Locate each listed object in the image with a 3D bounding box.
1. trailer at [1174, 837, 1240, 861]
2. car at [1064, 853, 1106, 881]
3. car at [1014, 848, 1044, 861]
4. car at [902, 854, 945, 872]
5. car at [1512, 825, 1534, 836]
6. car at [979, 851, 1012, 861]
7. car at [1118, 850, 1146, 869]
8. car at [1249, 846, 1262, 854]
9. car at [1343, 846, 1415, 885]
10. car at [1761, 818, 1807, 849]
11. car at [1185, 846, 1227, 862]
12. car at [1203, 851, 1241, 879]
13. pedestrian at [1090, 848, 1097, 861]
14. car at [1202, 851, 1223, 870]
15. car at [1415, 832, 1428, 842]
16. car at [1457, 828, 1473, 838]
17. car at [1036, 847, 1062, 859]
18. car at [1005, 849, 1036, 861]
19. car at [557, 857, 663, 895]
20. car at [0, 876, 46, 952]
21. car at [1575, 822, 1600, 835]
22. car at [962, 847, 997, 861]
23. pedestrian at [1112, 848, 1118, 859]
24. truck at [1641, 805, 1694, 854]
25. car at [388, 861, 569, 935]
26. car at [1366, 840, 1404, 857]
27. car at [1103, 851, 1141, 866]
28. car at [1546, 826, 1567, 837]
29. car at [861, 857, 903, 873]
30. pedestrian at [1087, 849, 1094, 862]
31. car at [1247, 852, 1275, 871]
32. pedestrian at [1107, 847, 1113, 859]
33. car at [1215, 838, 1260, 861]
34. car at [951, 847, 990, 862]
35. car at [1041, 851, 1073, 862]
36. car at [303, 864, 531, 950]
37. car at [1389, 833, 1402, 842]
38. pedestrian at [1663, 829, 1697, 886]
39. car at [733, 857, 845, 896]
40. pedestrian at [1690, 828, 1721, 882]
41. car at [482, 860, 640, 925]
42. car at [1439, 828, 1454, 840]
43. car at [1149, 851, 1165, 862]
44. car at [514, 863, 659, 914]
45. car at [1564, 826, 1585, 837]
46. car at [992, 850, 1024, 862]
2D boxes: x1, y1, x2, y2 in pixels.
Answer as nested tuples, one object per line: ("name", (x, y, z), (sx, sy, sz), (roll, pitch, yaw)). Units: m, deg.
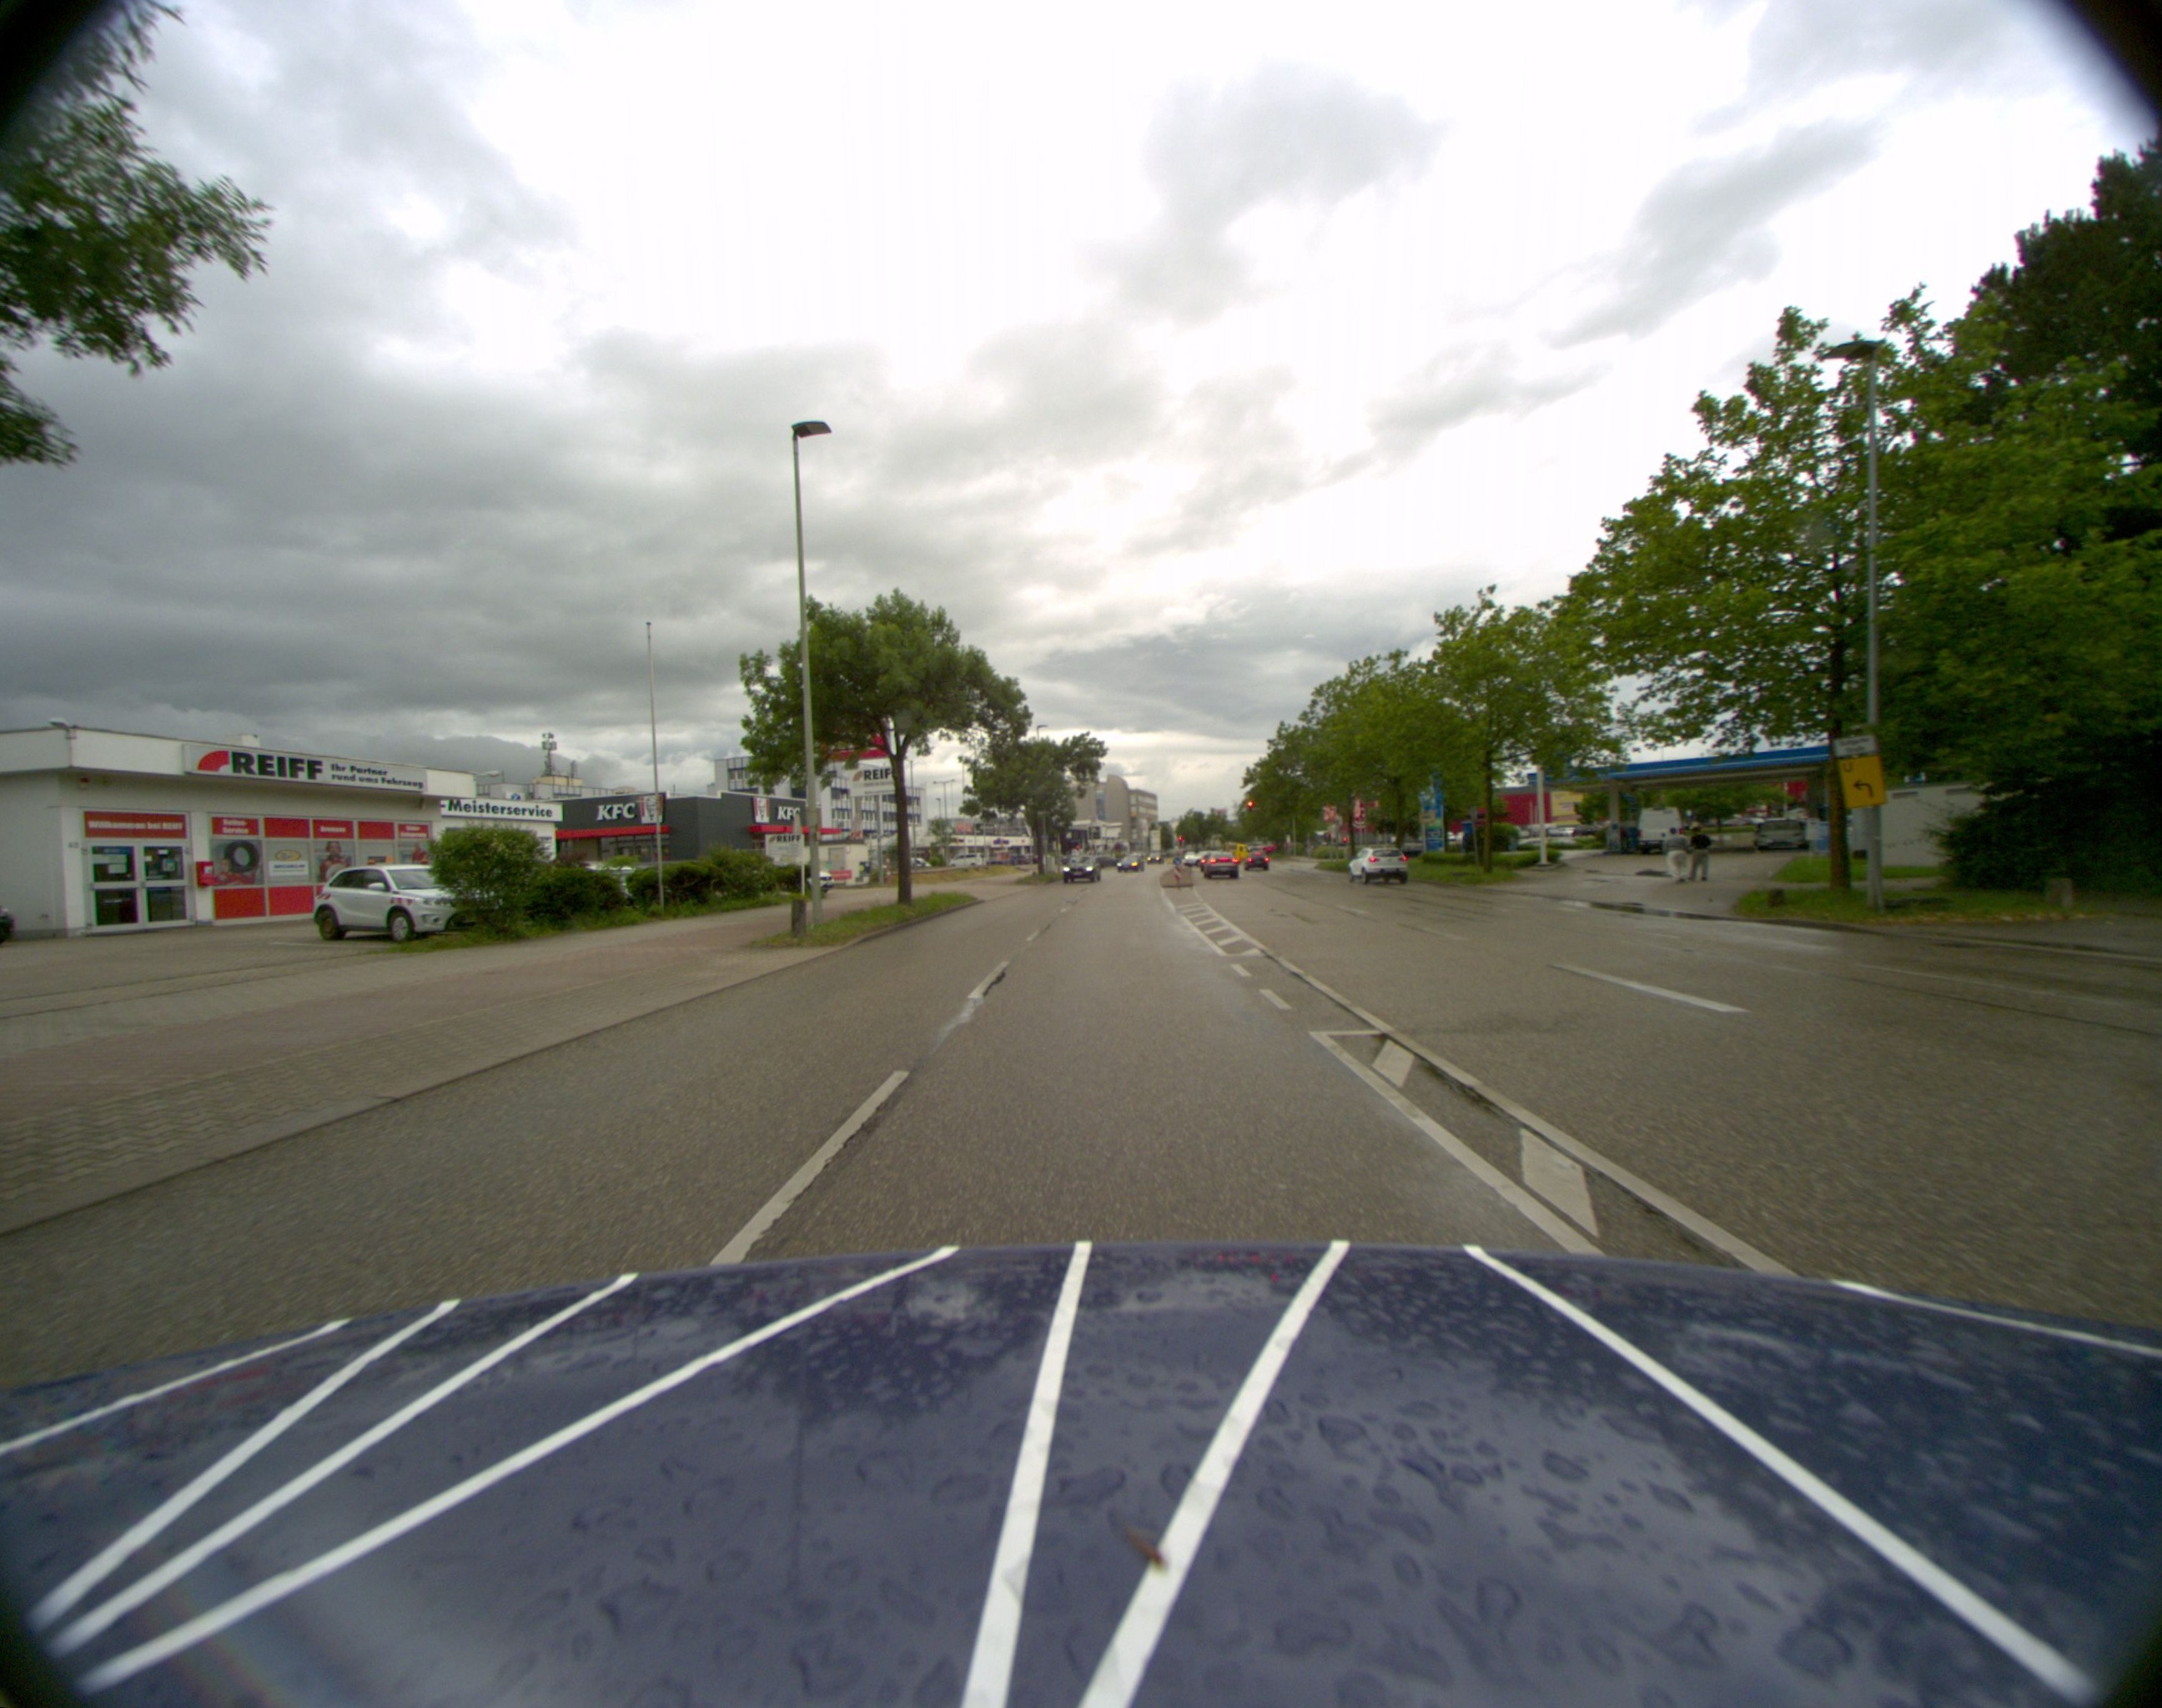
("trailer", (14.427, -0.587, 86.750), (7.985, 2.459, 2.306), (-2, -1, -36))
("car", (0.306, 0.741, 46.306), (1.899, 1.544, 4.595), (-1, 0, 9))
("car", (-8.356, 0.106, 122.494), (4.366, 1.895, 1.899), (-1, 1, 17))
("car", (-17.226, 1.009, 82.979), (4.241, 1.772, 1.801), (-1, -2, 14))
("car", (61.360, -3.304, 105.578), (1.670, 1.373, 3.913), (-1, 0, 16))
("car", (-12.433, 0.315, 110.056), (4.366, 1.385, 1.826), (-1, 0, 17))
("car", (4.784, 0.470, 70.353), (1.798, 1.623, 4.556), (-1, 0, 14))
("car", (29.700, -0.659, 129.348), (1.785, 1.396, 4.005), (-1, 0, 17))
("car", (13.616, 0.476, 34.989), (1.932, 1.610, 4.400), (-1, 1, 6))
("car", (39.699, -1.159, 42.872), (3.569, 1.573, 1.684), (-4, 2, -44))
("car", (13.360, 0.019, 81.427), (4.004, 1.544, 1.898), (-2, 0, -21))
("car", (8.524, 0.627, 46.298), (1.815, 1.553, 4.599), (-1, 1, 4))
("pedestrian", (1.723, 0.086, 104.648), (0.814, 1.846, 0.698), (0, 3, 18))
("car", (11.025, 0.526, 63.404), (1.646, 1.499, 3.896), (-1, 0, 11))
("car", (63.498, -3.177, 141.749), (1.694, 1.636, 3.967), (-1, 0, 16))
("car", (63.681, -3.491, 125.988), (1.670, 1.636, 3.967), (-1, 0, 16))
("car", (-5.640, -0.114, 133.916), (3.991, 2.002, 1.914), (-1, 0, 20))
("car", (-9.560, 0.222, 120.143), (4.366, 1.754, 1.899), (-1, 0, 17))
("car", (-22.657, 1.063, 36.605), (3.994, 1.670, 1.959), (-2, 0, 11))
("car", (-23.409, 1.270, 14.728), (4.064, 1.494, 1.985), (-2, 0, 2))
("car", (68.102, -3.446, 102.229), (1.670, 1.636, 3.831), (-1, 0, 16))
("car", (-14.065, -0.024, 105.695), (4.366, 1.809, 1.899), (-1, 0, 17))
("pedestrian", (5.270, -0.140, 118.504), (0.713, 1.701, 0.698), (-1, 0, 18))
("truck", (34.759, -1.360, 44.907), (2.149, 2.659, 7.890), (-1, 0, 40))
("car", (-14.849, 1.036, 18.712), (4.145, 1.652, 1.825), (-1, -1, 25))
("car", (32.904, -0.580, 82.345), (3.533, 1.687, 1.603), (-3, 1, 13))
("car", (4.594, 0.500, 85.266), (3.994, 1.532, 1.815), (-2, 2, 9))
("car", (75.778, -3.535, 121.131), (1.670, 1.636, 3.967), (-1, 0, 16))
("car", (-21.903, 1.224, 83.659), (3.993, 1.698, 1.826), (-1, 0, 14))
("pedestrian", (1.276, 0.207, 103.310), (0.817, 1.765, 0.695), (-1, 2, -26))
("car", (14.871, 0.616, 63.027), (1.997, 1.499, 4.734), (-1, 0, 10))
("pedestrian", (4.428, -0.137, 116.015), (0.700, 1.701, 0.698), (-1, 0, 18))
("car", (18.546, -0.549, 89.946), (5.023, 2.459, 2.242), (-2, -1, -36))
("car", (-14.851, 0.078, 102.439), (4.777, 2.002, 2.003), (-1, 0, 18))
("car", (-3.332, 0.346, 106.746), (4.117, 1.385, 1.826), (-1, 0, 21))
("car", (-14.067, 1.051, 16.121), (4.058, 1.588, 1.988), (-1, 1, 22))
("car", (57.314, -2.975, 138.646), (1.694, 1.636, 3.967), (-1, 0, 16))
("pedestrian", (19.048, 0.109, 24.159), (0.665, 1.756, 0.584), (-3, 1, 25))
("car", (-12.791, 0.990, 33.395), (4.182, 1.543, 1.891), (-2, 0, 10))
("pedestrian", (19.824, 0.039, 24.126), (0.513, 1.673, 0.540), (-1, 1, 3))
("car", (-14.580, 1.049, 21.304), (4.145, 1.652, 1.825), (-1, -1, 26))
("car", (67.608, -3.693, 140.690), (1.788, 1.914, 3.754), (-1, 0, 14))
("car", (10.791, 0.326, 107.516), (1.752, 1.455, 4.003), (-2, 0, 11))
("car", (-15.841, 1.072, 24.367), (3.933, 1.514, 1.735), (-1, 0, 16))
("car", (78.258, -3.594, 120.456), (1.670, 1.636, 3.967), (-1, 0, 16))
("car", (-11.072, 0.324, 115.544), (4.366, 1.754, 1.899), (-1, 0, 17))
